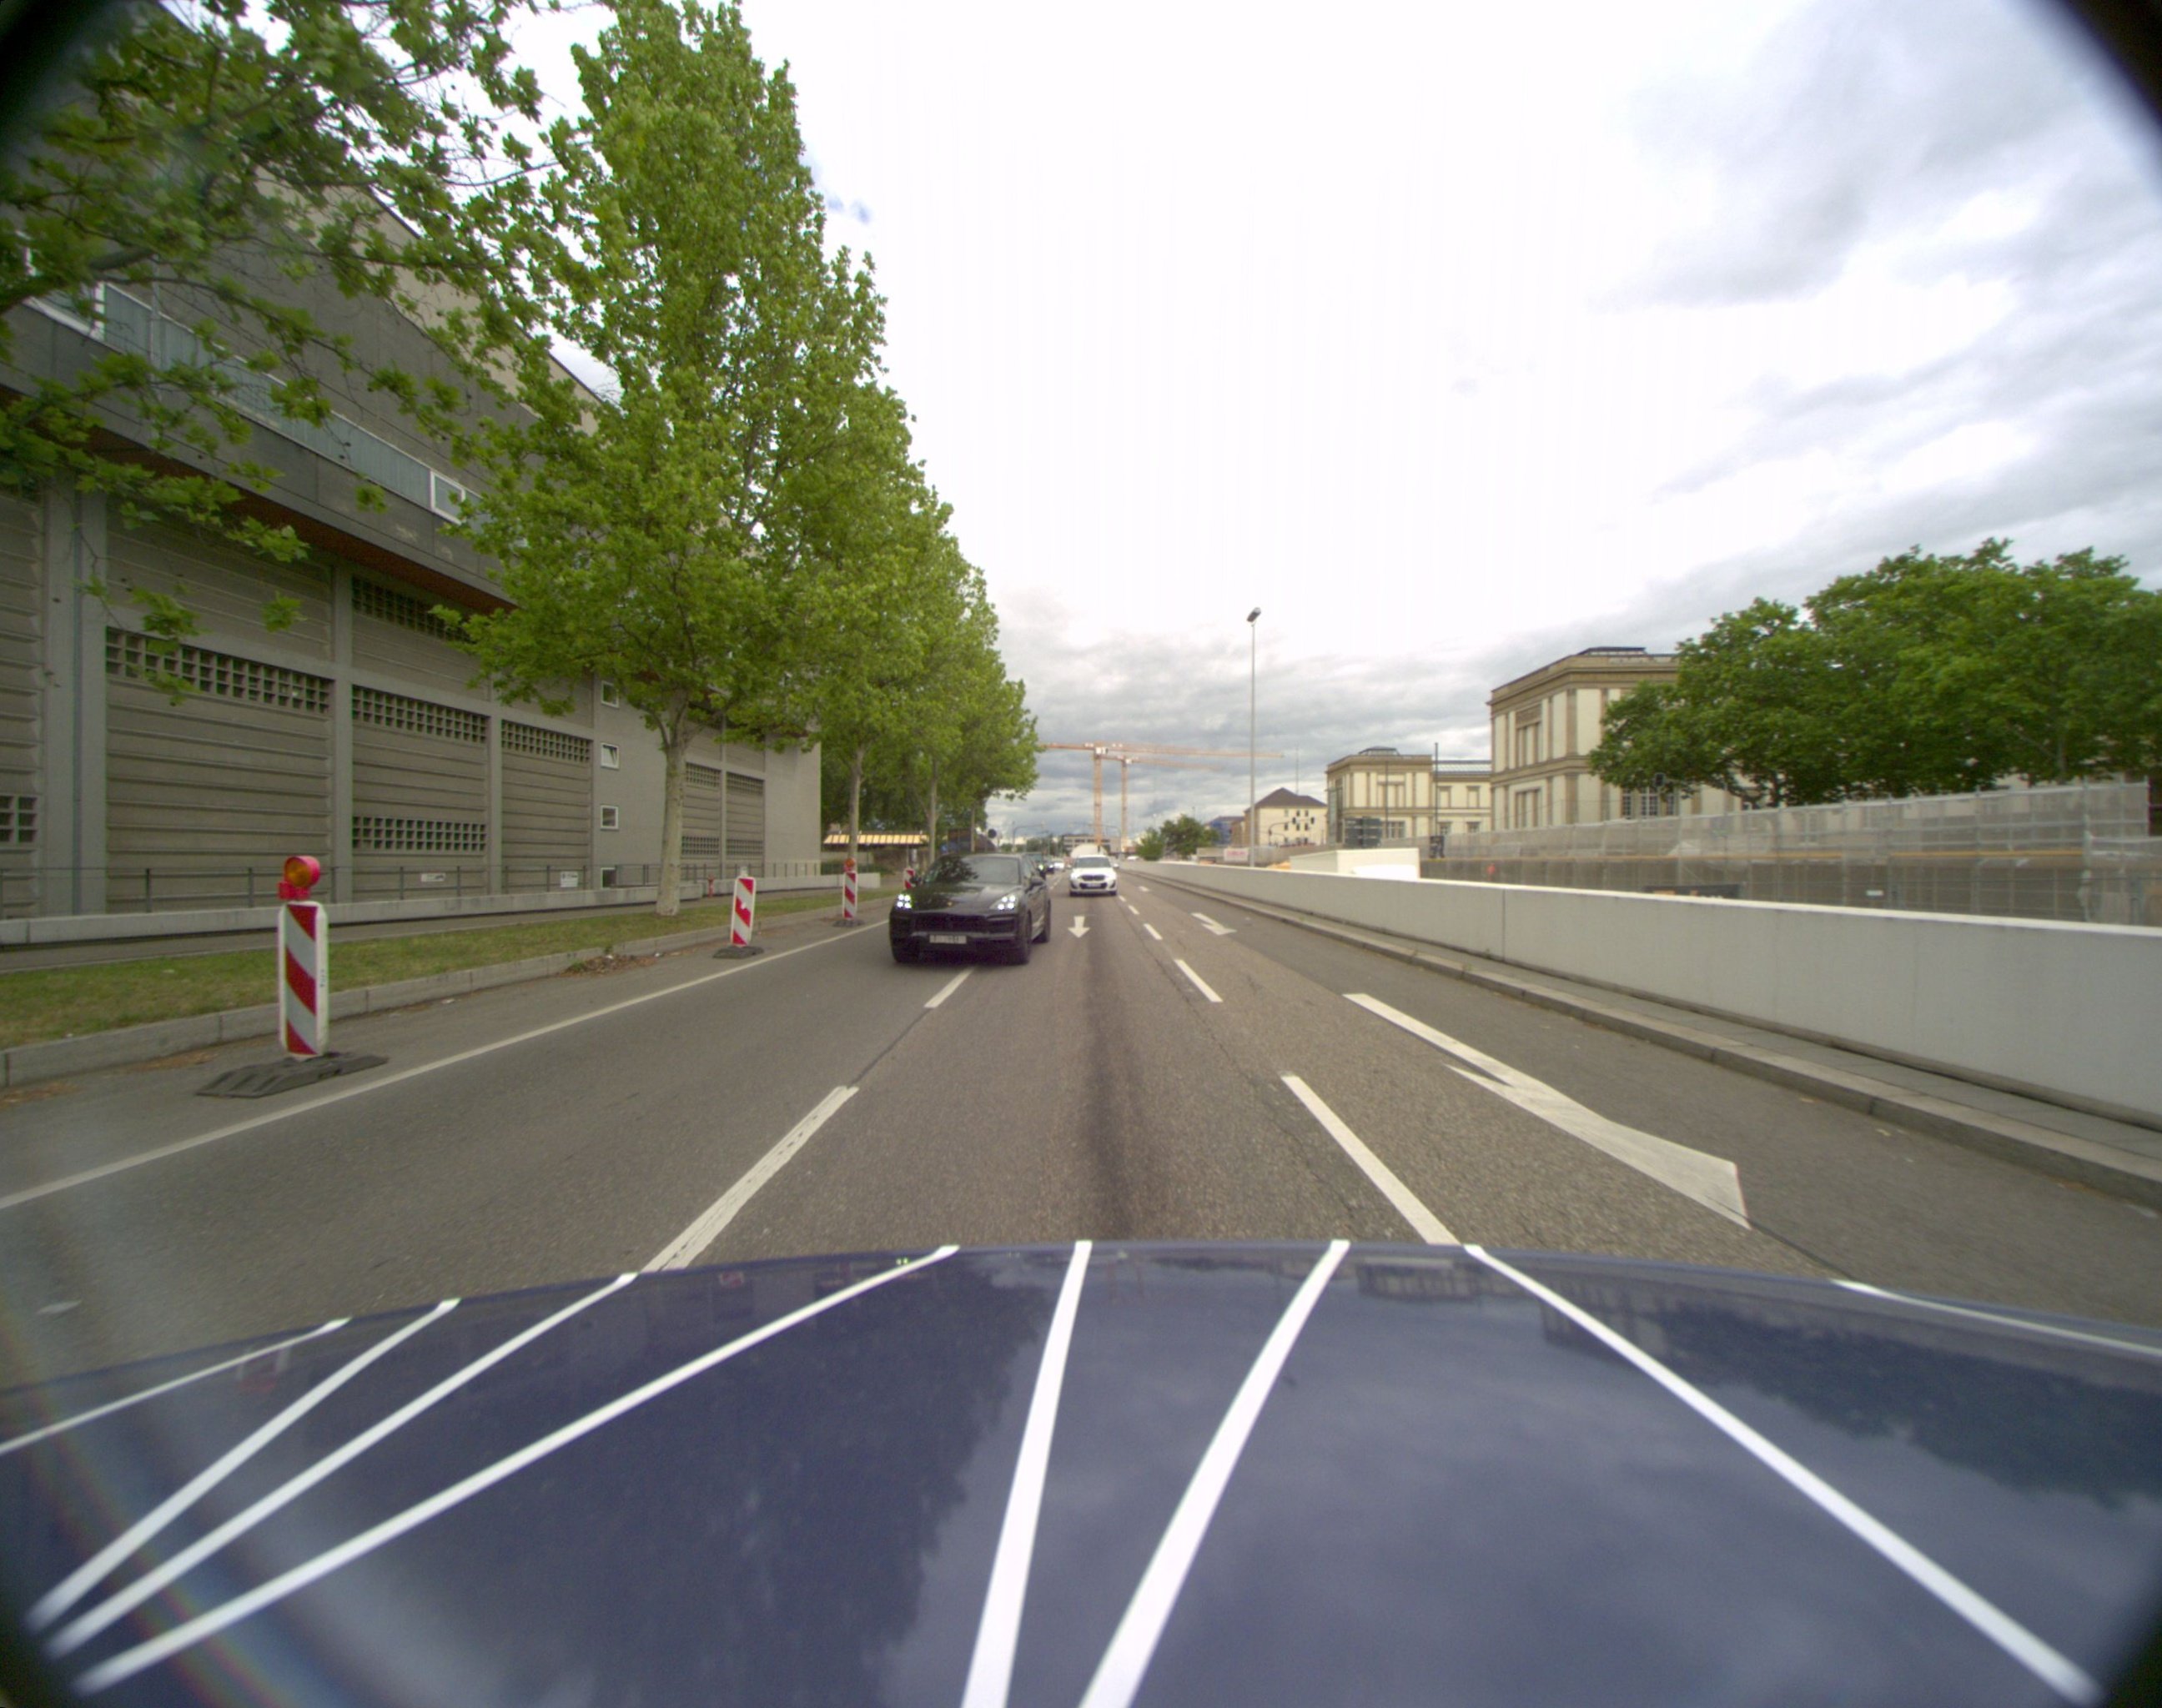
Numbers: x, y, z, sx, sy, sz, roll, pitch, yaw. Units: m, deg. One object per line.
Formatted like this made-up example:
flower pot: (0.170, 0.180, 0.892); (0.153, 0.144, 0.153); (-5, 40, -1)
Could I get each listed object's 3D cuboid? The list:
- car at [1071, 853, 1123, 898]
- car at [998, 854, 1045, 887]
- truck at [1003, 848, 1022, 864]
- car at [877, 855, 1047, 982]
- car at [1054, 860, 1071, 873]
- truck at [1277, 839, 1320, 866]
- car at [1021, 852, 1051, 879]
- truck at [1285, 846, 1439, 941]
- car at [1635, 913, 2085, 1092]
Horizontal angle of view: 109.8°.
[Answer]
car: (0.545, 0.824, 29.258); (1.812, 1.595, 3.713); (-1, -2, -1)
car: (-2.960, 0.796, 38.688); (1.956, 1.499, 4.270); (2, 0, 0)
truck: (-16.627, 0.507, 184.366); (2.913, 3.653, 9.014); (0, 0, -16)
car: (-1.709, 0.871, 12.515); (1.955, 1.638, 4.608); (0, 1, 1)
car: (-2.315, 1.562, 97.094); (1.998, 1.632, 4.000); (0, 0, 0)
truck: (35.849, -0.124, 126.165); (2.924, 4.058, 16.619); (1, -1, 2)
car: (-3.079, 0.779, 52.399); (1.812, 1.815, 3.773); (0, 0, 1)
truck: (8.977, 1.232, 25.159); (2.609, 2.695, 6.675); (0, -2, 0)
car: (9.970, 1.783, 10.306); (1.998, 1.632, 4.000); (0, 0, 0)
